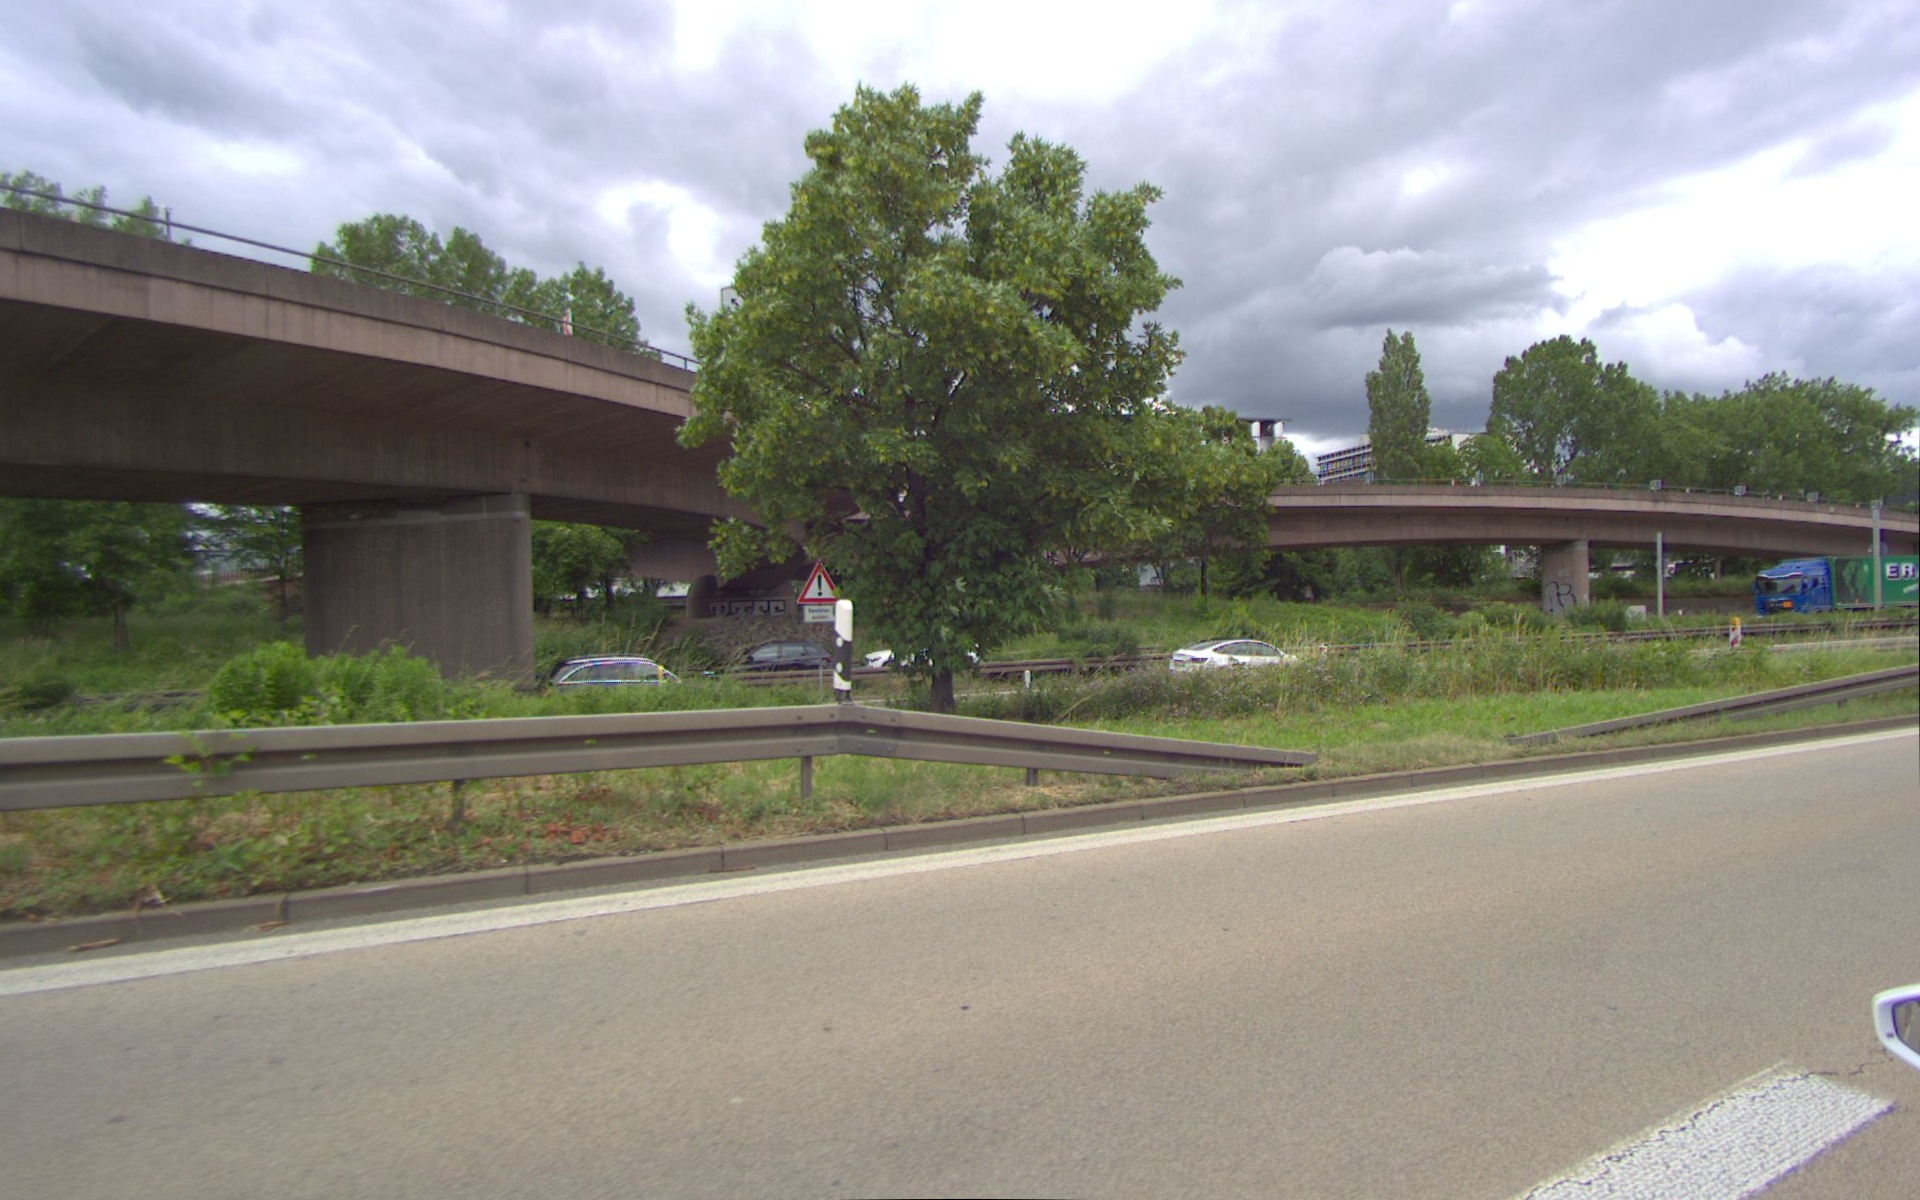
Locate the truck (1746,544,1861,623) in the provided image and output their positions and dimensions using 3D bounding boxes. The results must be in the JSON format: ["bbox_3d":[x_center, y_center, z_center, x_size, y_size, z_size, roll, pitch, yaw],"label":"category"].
[{"bbox_3d":[47.603,-0.923,56.716,5.421,4.329,2.748,-1,0,-21],"label":"truck"}]

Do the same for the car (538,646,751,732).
[{"bbox_3d":[-7.261,1.976,23.238,4.509,1.636,2.034,-1,0,-21],"label":"car"}]

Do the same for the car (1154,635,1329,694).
[{"bbox_3d":[8.272,1.851,29.584,4.729,1.475,1.990,-1,0,-21],"label":"car"}]

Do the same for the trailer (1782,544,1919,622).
[{"bbox_3d":[54.523,-1.012,59.509,13.774,4.352,2.766,-1,0,-22],"label":"trailer"}]
